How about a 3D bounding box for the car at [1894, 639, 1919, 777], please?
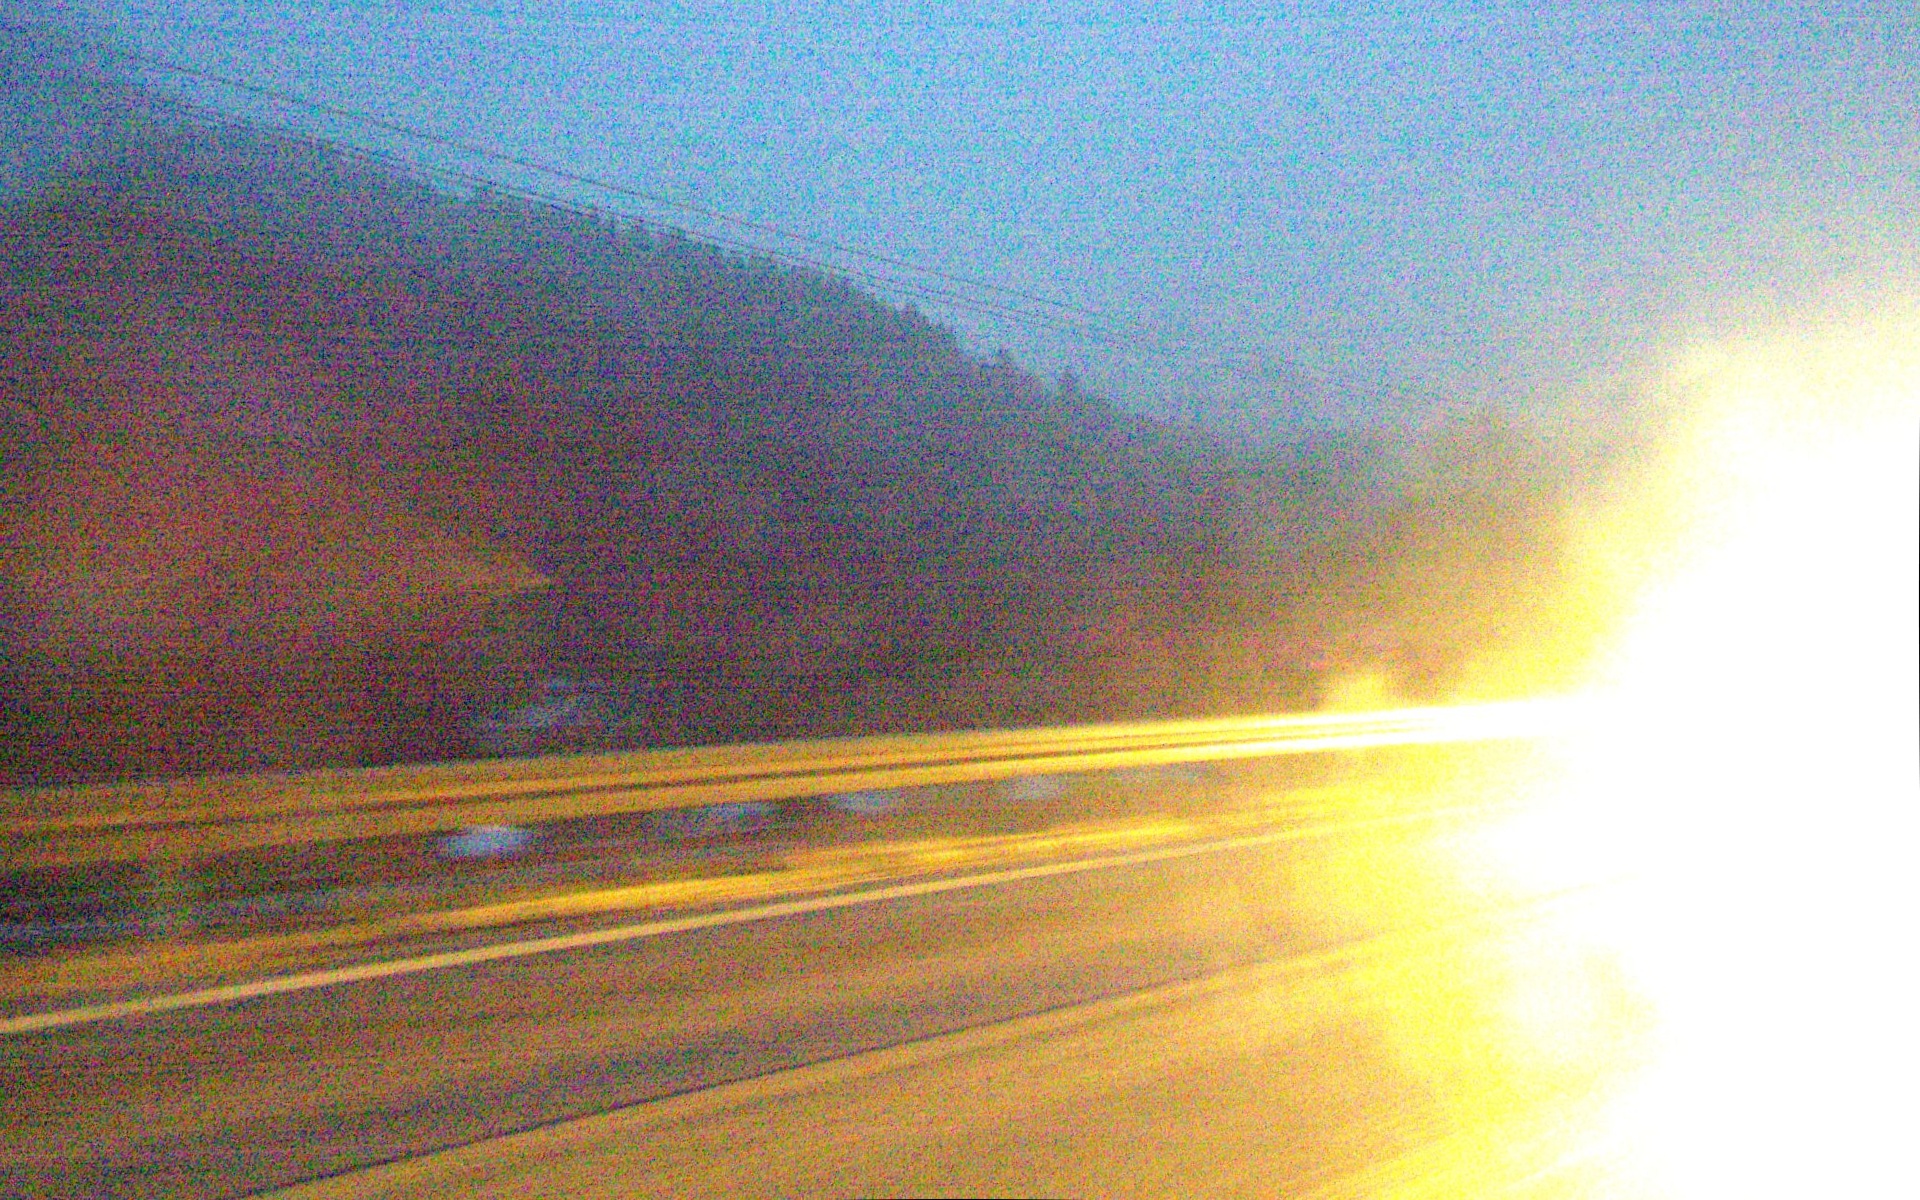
[{"bbox_3d":[11.666,1.170,10.686,3.543,1.404,1.573,2,0,-30],"label":"car"}]
